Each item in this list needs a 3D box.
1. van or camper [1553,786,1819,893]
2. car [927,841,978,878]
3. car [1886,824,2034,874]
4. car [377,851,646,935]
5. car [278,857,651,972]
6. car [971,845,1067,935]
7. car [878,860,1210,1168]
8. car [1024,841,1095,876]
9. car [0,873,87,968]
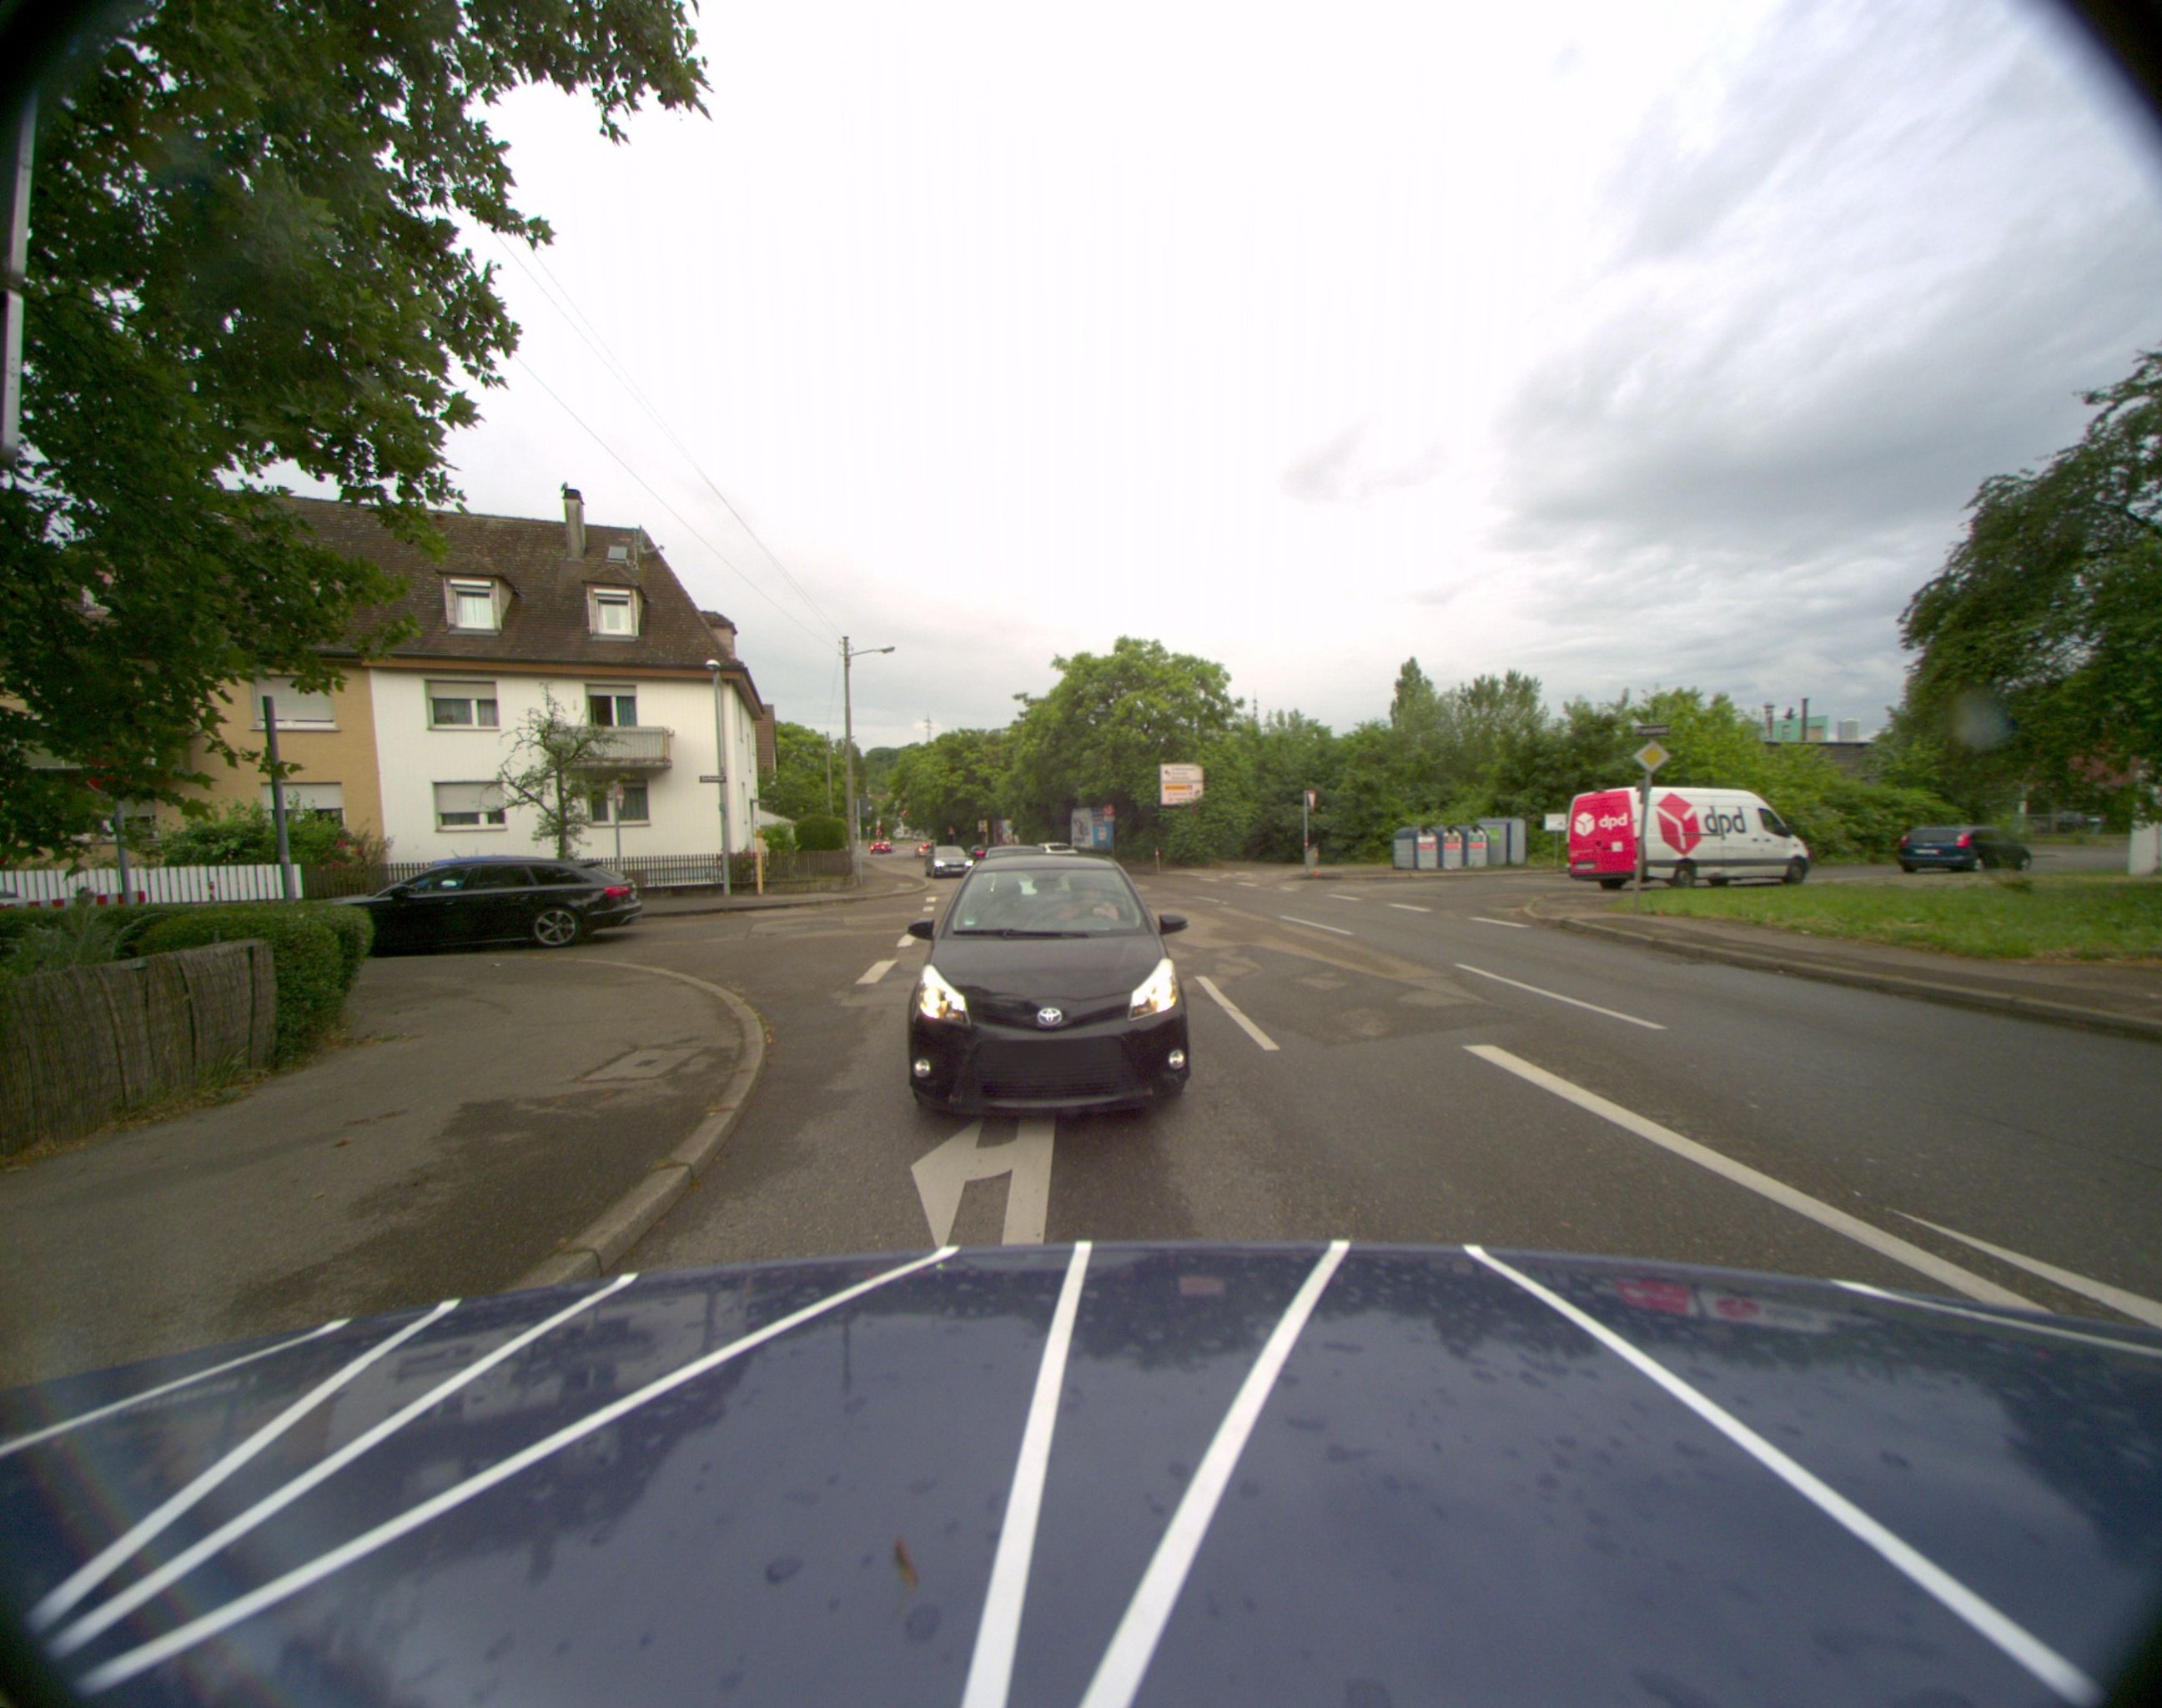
[{"bbox_3d":[15.880,-0.442,19.920,6.703,2.508,2.219,-2,1,-19],"label":"van or camper"},{"bbox_3d":[-5.989,0.217,35.152,1.710,1.549,3.993,-2,1,-18],"label":"car"},{"bbox_3d":[30.119,-0.192,26.048,4.072,1.521,1.996,-2,1,-20],"label":"car"},{"bbox_3d":[-11.318,0.703,15.489,4.004,1.456,1.857,-1,1,-23],"label":"car"},{"bbox_3d":[-9.873,0.881,12.703,4.397,1.505,1.996,-2,1,-22],"label":"car"},{"bbox_3d":[-1.289,0.617,15.287,1.645,1.549,3.626,-2,1,-6],"label":"car"},{"bbox_3d":[-0.300,0.826,5.884,1.645,1.450,3.998,-2,0,-4],"label":"car"},{"bbox_3d":[-1.188,0.176,37.879,1.844,1.549,5.563,-2,1,-20],"label":"car"},{"bbox_3d":[-19.788,1.171,12.080,4.396,1.505,1.996,-2,1,-19],"label":"car"}]
